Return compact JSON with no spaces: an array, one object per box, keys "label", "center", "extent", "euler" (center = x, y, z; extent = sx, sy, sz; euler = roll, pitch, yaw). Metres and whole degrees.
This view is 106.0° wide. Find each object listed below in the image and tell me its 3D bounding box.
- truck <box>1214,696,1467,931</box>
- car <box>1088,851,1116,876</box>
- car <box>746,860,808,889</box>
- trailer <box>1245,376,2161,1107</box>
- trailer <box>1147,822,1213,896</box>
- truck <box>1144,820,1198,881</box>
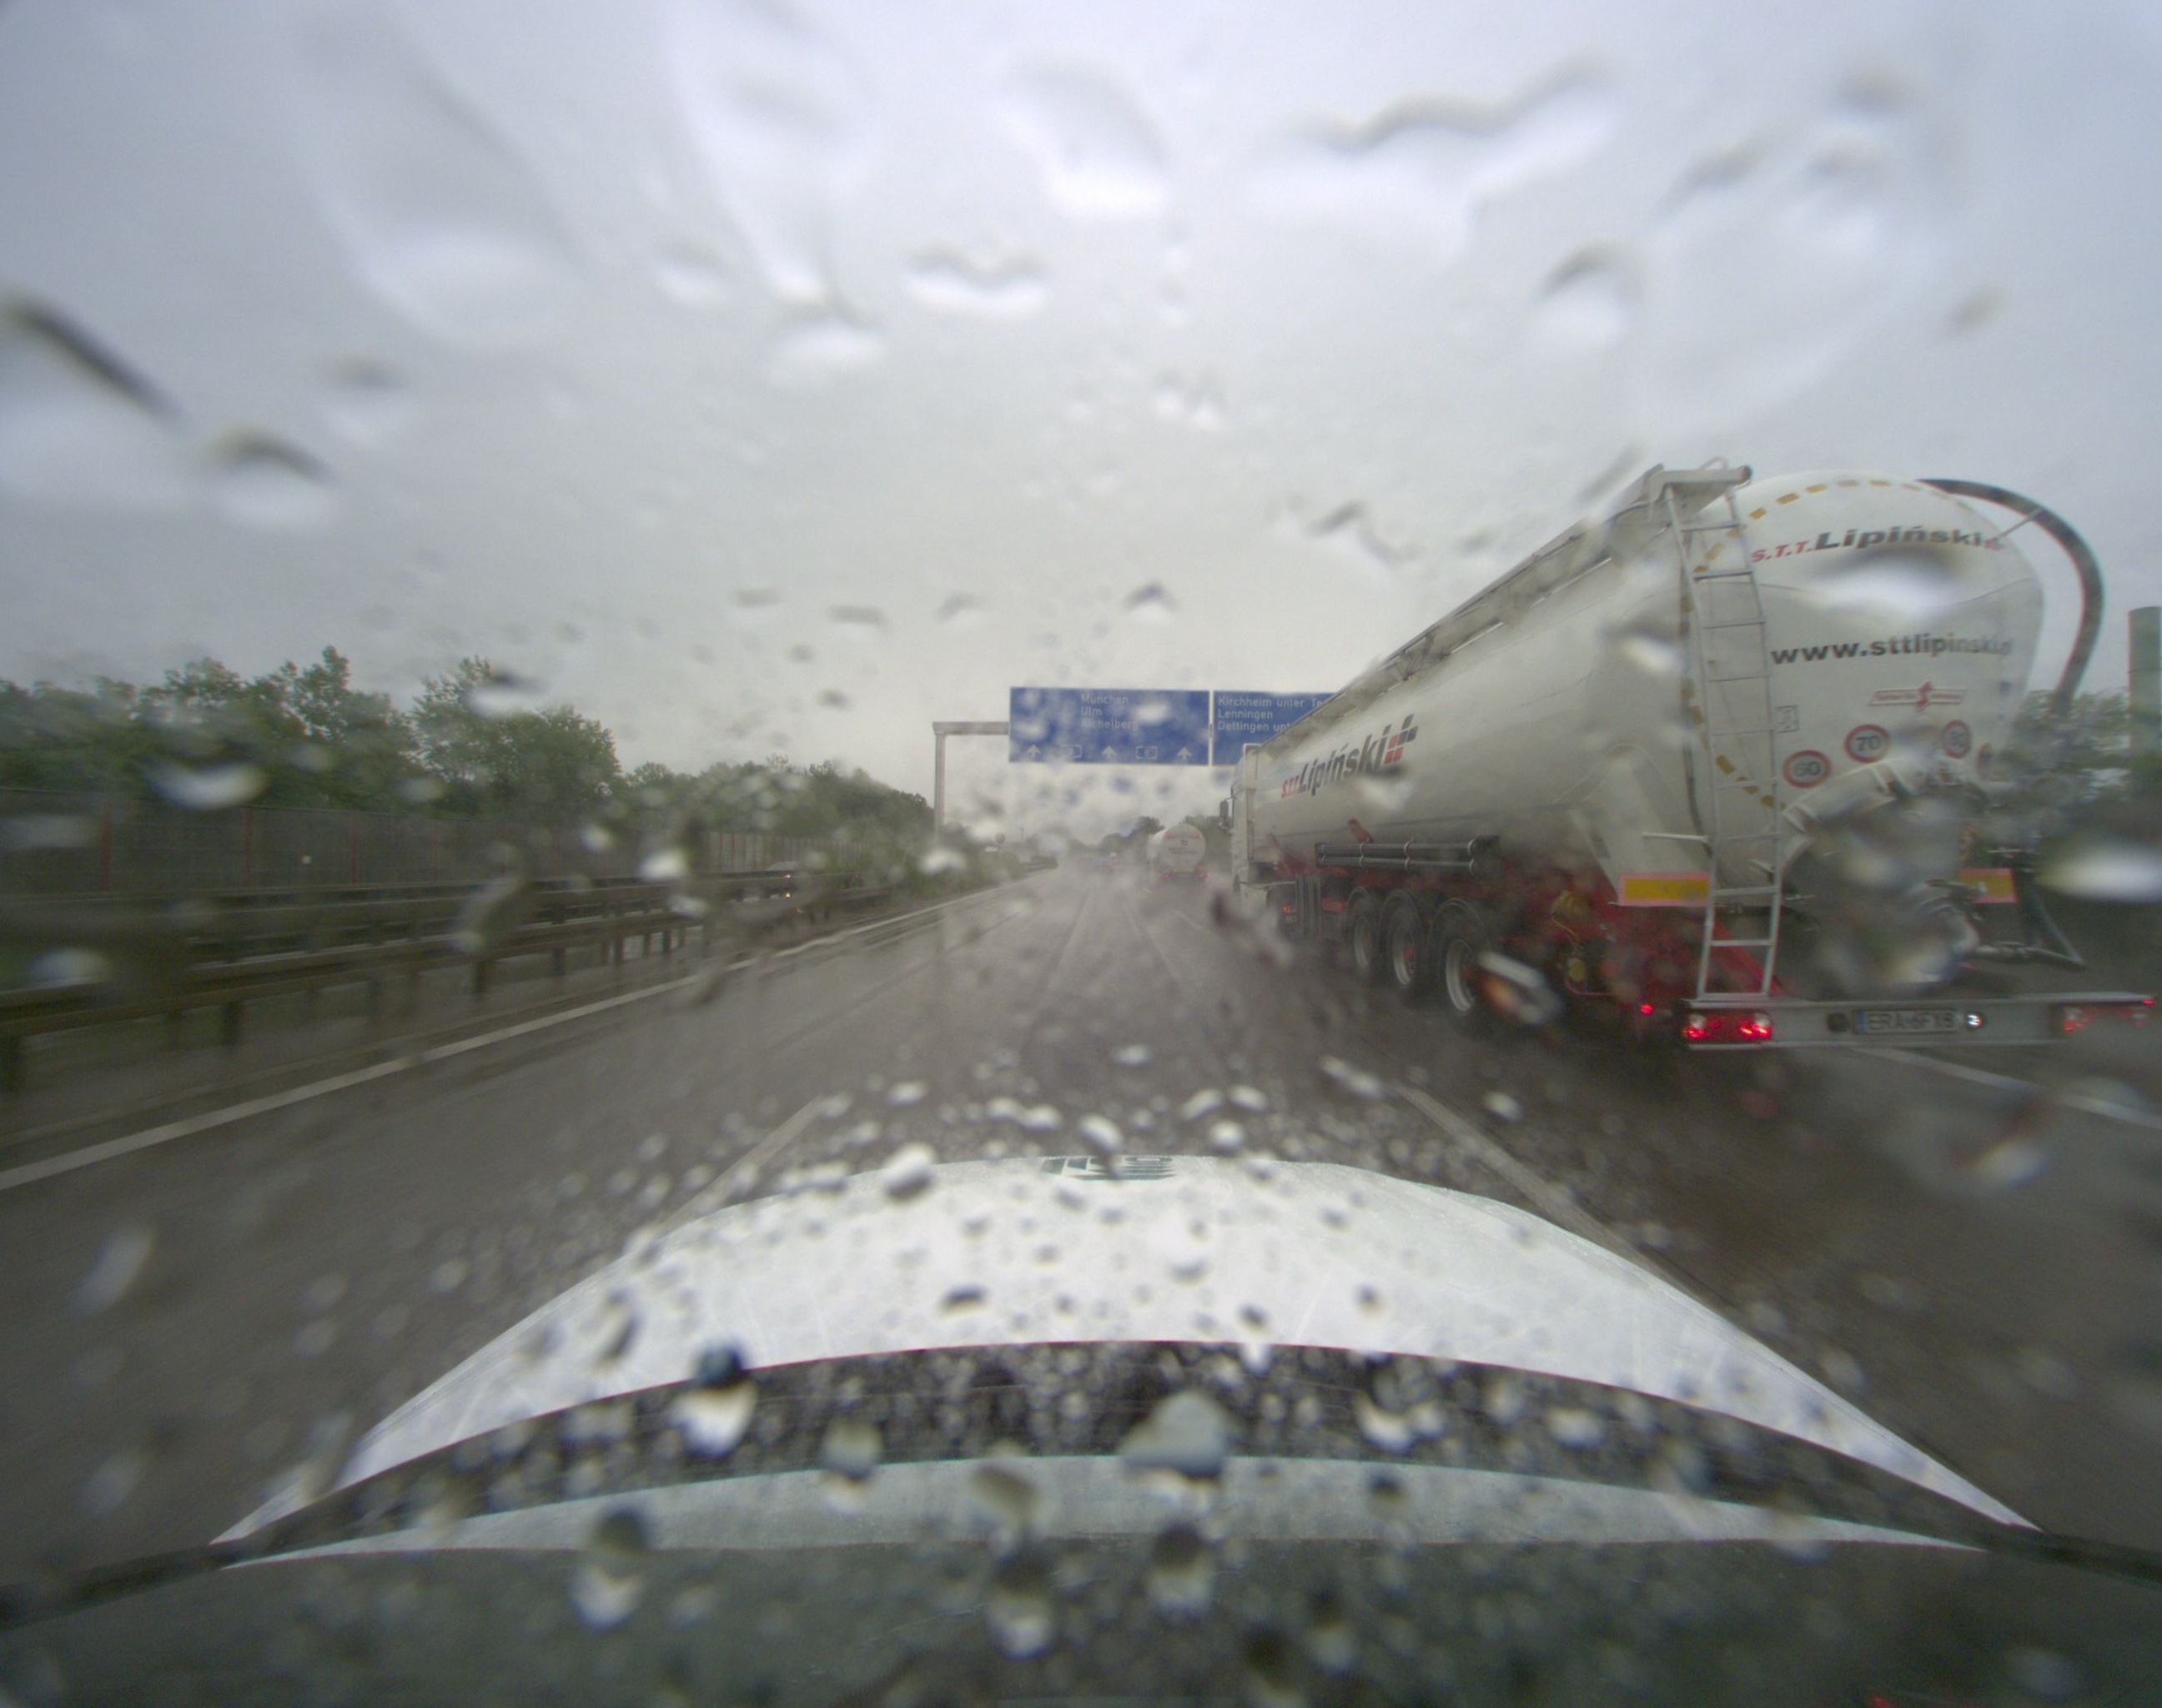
[{"label":"truck","center":[4.799,-0.652,16.856],"extent":[3.093,3.806,7.214],"euler":[0,0,1]},{"label":"car","center":[1.567,0.707,62.290],"extent":[1.972,1.756,4.481],"euler":[-1,0,0]},{"label":"car","center":[-15.797,1.041,42.547],"extent":[1.741,1.383,3.742],"euler":[0,0,1]},{"label":"trailer","center":[4.588,-0.577,9.937],"extent":[3.176,3.670,11.671],"euler":[0,0,2]},{"label":"trailer","center":[5.527,0.286,46.933],"extent":[2.993,3.848,8.627],"euler":[0,0,2]},{"label":"truck","center":[5.668,-0.212,52.353],"extent":[2.933,3.684,6.363],"euler":[0,0,1]}]
